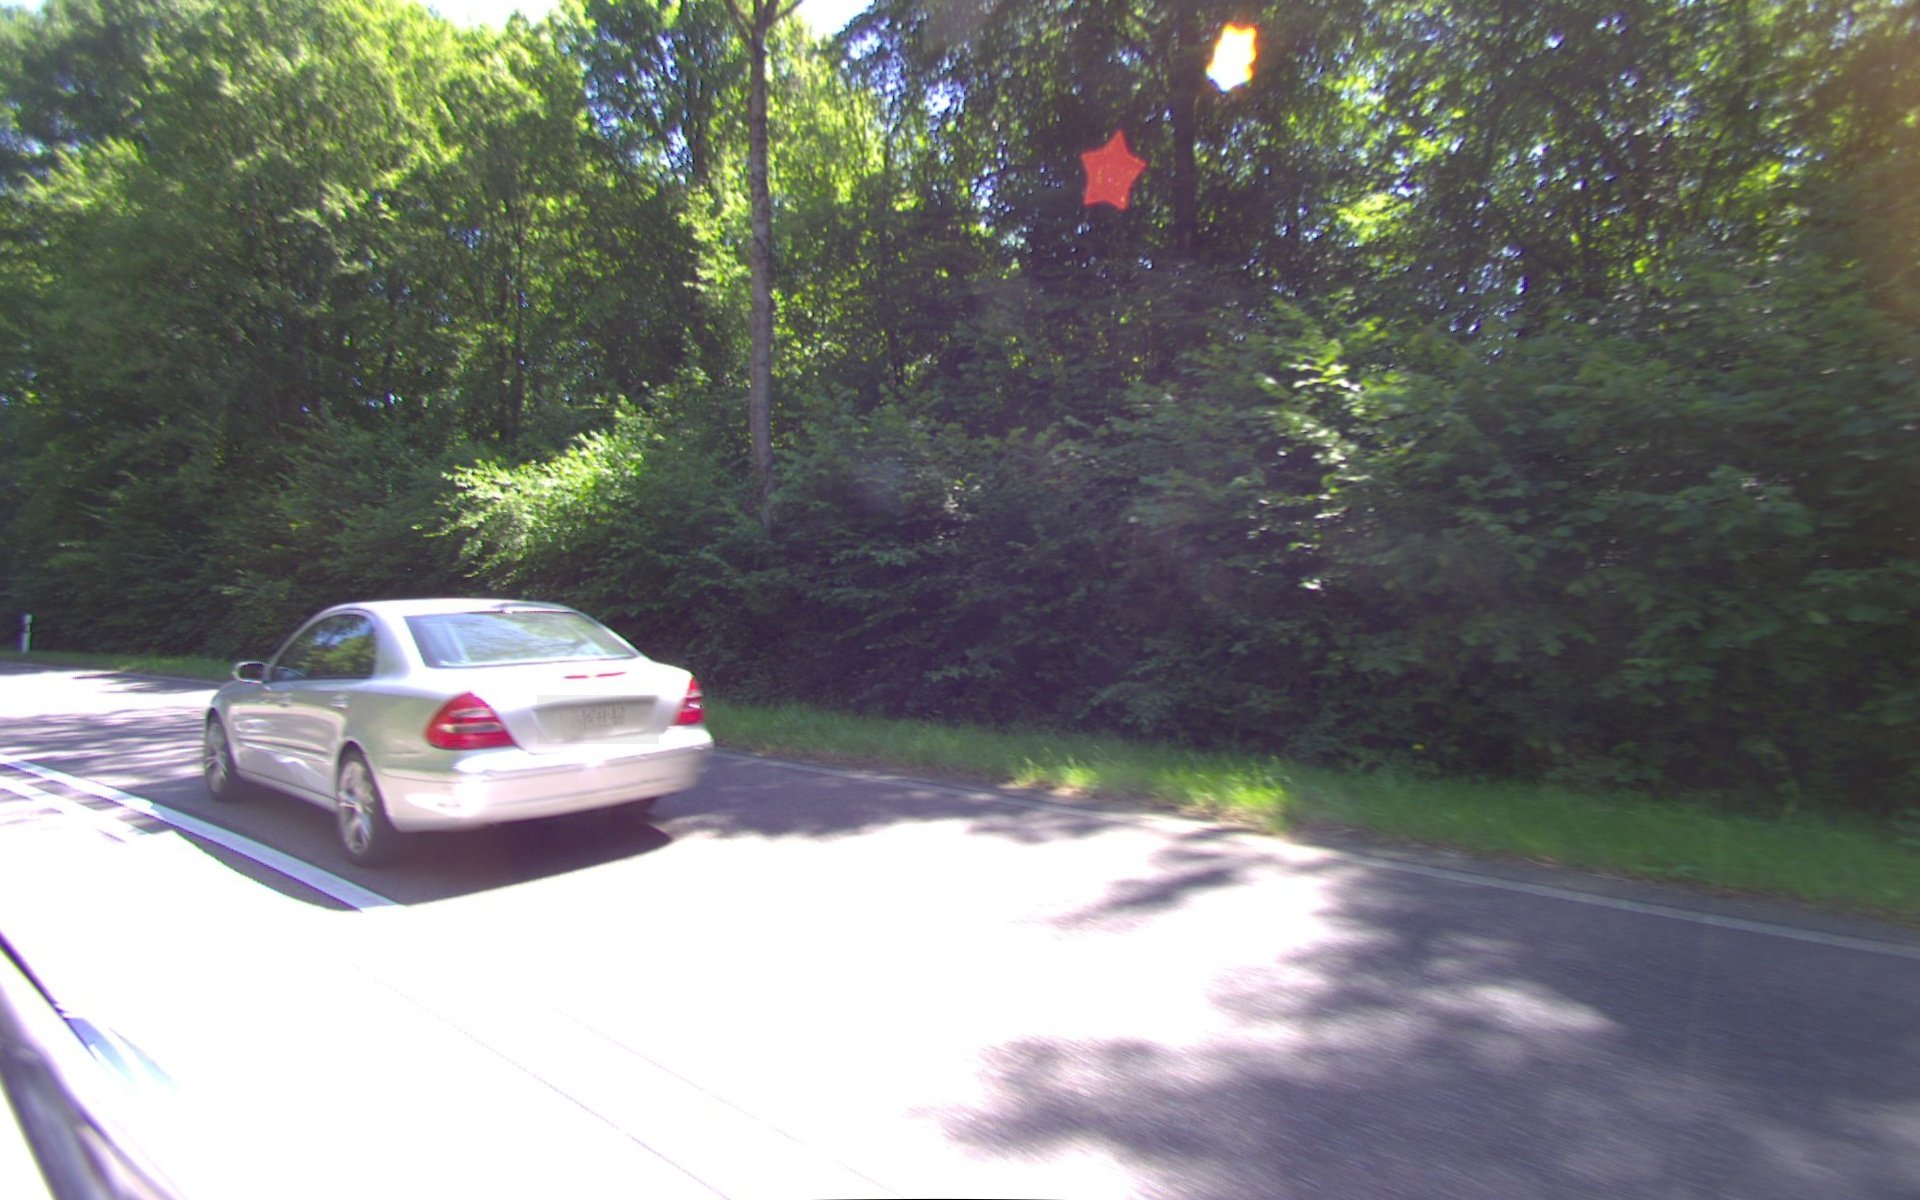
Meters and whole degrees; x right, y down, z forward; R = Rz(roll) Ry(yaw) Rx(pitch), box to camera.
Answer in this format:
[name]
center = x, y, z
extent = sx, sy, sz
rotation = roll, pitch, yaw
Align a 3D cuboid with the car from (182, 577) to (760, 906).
[car]
center = -3.578, 0.665, 6.889
extent = 4.763, 1.497, 1.826
rotation = 0, -1, 41
